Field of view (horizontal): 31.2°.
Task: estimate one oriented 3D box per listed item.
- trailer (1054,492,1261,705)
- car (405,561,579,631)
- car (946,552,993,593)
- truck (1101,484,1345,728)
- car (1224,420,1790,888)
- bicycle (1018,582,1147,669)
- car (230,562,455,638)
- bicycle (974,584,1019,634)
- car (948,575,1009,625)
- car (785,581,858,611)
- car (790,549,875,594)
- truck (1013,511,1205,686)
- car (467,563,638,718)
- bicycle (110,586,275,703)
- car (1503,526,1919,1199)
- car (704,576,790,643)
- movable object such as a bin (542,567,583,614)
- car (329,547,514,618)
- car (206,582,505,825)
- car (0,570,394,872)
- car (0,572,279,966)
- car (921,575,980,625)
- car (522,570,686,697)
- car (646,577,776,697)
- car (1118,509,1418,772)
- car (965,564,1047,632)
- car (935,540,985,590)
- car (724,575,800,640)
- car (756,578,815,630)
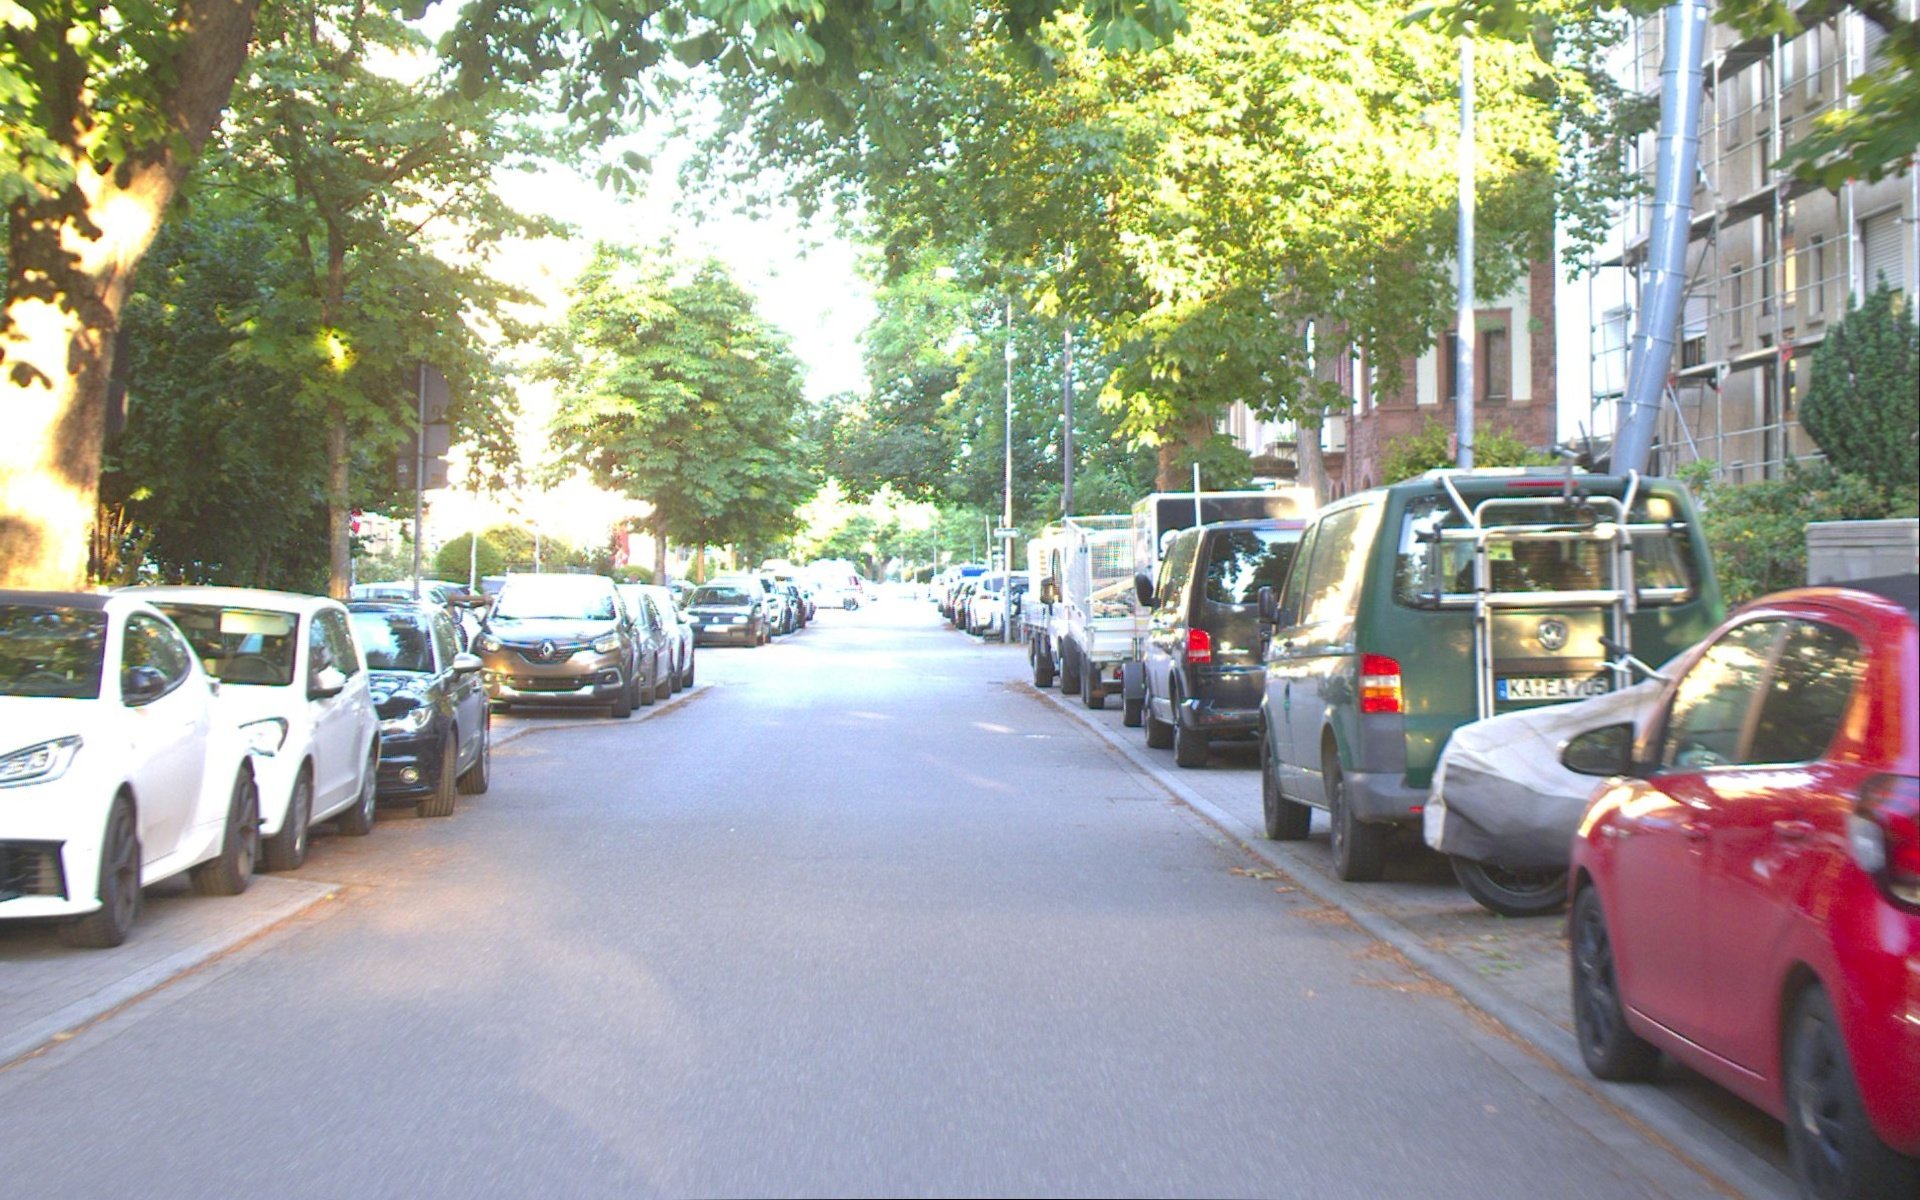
[{"bbox_3d":[2.259,-0.046,40.530,1.954,2.288,4.645,-3,1,-1],"label":"trailer"},{"bbox_3d":[-11.685,-0.107,85.945,4.092,1.522,1.709,3,0,-2],"label":"car"},{"bbox_3d":[0.336,-1.017,130.075,1.538,1.516,3.432,0,0,-4],"label":"car"},{"bbox_3d":[2.604,0.012,35.126,1.954,2.239,4.645,-3,1,-1],"label":"truck"},{"bbox_3d":[2.694,0.201,18.148,1.954,2.052,4.831,-3,1,-2],"label":"car"},{"bbox_3d":[1.896,0.390,53.184,1.902,1.254,0.407,-3,0,-6],"label":"bicycle"},{"bbox_3d":[-12.323,-0.014,68.660,4.094,1.442,1.708,0,1,8],"label":"car"},{"bbox_3d":[0.862,0.201,81.026,0.444,1.169,1.634,0,0,24],"label":"bicycle"},{"bbox_3d":[0.548,-0.020,105.337,1.686,1.436,4.210,-2,0,-1],"label":"car"},{"bbox_3d":[-7.003,-0.212,173.407,3.618,1.456,1.607,0,1,-4],"label":"car"},{"bbox_3d":[-6.533,-1.458,176.307,4.349,2.310,1.746,0,1,-2],"label":"car"},{"bbox_3d":[1.969,-0.028,47.644,1.977,2.237,6.777,0,0,-3],"label":"truck"},{"bbox_3d":[-4.546,0.414,38.831,1.689,1.558,4.403,2,1,-5],"label":"car"},{"bbox_3d":[-8.737,0.489,39.251,0.606,1.280,2.483,-1,0,19],"label":"bicycle"},{"bbox_3d":[2.588,0.577,8.857,1.664,1.494,3.694,-3,1,-1],"label":"car"},{"bbox_3d":[-4.856,0.194,78.831,1.616,1.465,3.961,0,1,1],"label":"car"},{"bbox_3d":[-11.761,-0.284,101.774,1.013,1.316,1.005,2,1,4],"label":"movable object such as a bin"},{"bbox_3d":[-11.547,-0.388,73.813,3.564,1.442,1.817,0,1,8],"label":"car"},{"bbox_3d":[-4.090,0.649,23.732,1.551,1.480,3.694,-1,1,-3],"label":"car"},{"bbox_3d":[-4.290,0.615,19.694,1.551,1.480,3.694,2,1,-2],"label":"car"},{"bbox_3d":[-4.190,0.628,15.133,1.603,1.430,3.885,2,1,-1],"label":"car"},{"bbox_3d":[-0.331,0.003,113.559,1.686,1.600,3.940,0,0,-4],"label":"car"},{"bbox_3d":[-4.477,0.406,43.754,1.689,1.497,4.402,2,0,-1],"label":"car"},{"bbox_3d":[-3.564,0.486,48.879,1.689,1.497,4.739,2,1,-5],"label":"car"},{"bbox_3d":[2.476,0.268,28.729,1.839,1.936,4.614,-3,1,-2],"label":"car"},{"bbox_3d":[1.174,-0.050,90.040,1.798,1.705,4.601,-1,0,-4],"label":"car"},{"bbox_3d":[-0.011,-1.349,133.995,1.680,1.934,3.881,0,0,-4],"label":"car"},{"bbox_3d":[-5.463,0.181,95.229,1.921,1.711,4.428,0,1,-1],"label":"car"},{"bbox_3d":[-5.441,0.123,107.367,1.715,1.561,3.788,0,1,-1],"label":"car"}]
